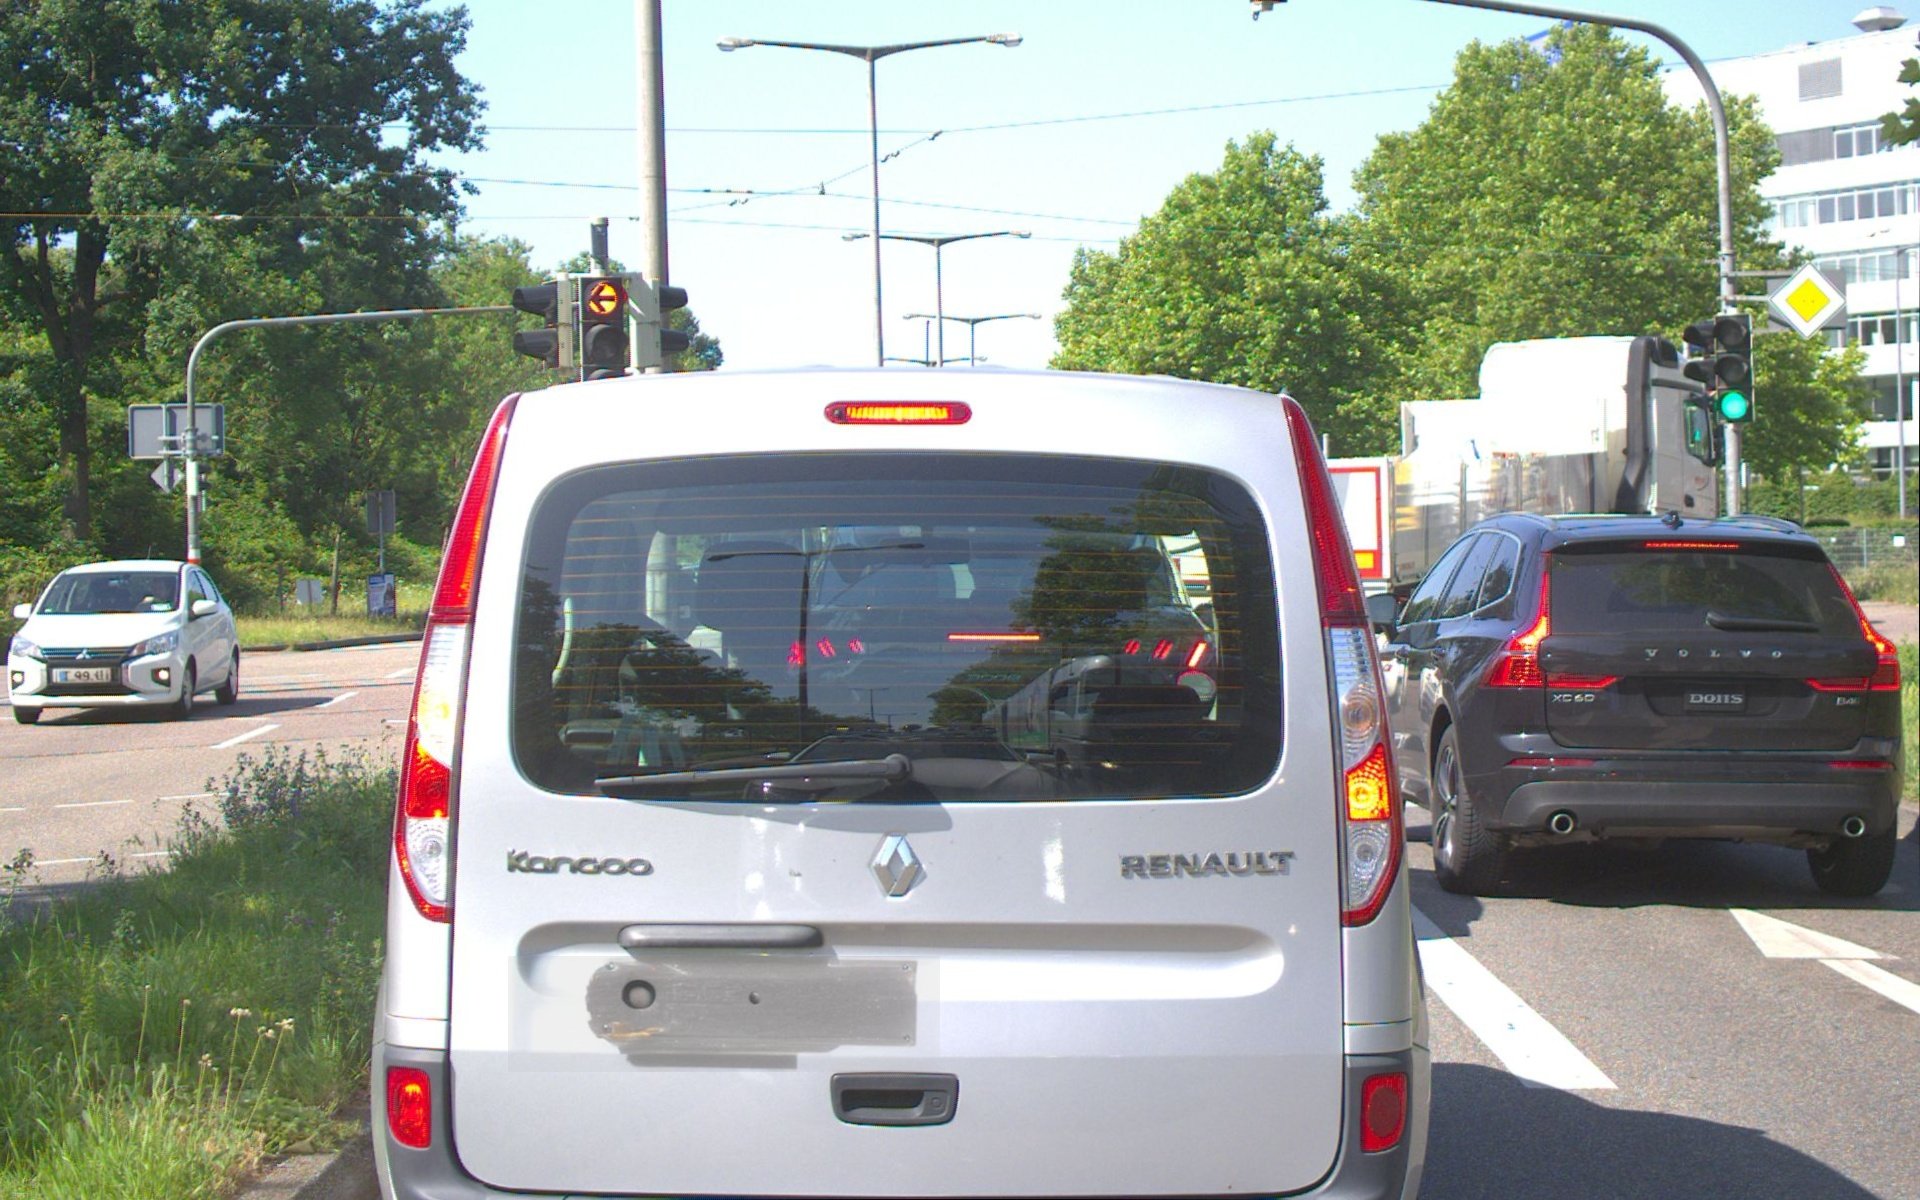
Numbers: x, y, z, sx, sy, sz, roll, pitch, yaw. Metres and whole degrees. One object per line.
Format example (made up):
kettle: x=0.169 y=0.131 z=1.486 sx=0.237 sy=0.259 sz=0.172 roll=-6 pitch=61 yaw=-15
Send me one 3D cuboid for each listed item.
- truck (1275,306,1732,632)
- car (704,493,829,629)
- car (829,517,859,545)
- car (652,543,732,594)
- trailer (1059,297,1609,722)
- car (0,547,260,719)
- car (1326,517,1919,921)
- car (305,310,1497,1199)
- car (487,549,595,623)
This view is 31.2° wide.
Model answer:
truck: x=6.806 y=-1.484 z=42.088 sx=2.916 sy=3.630 sz=7.176 roll=1 pitch=1 yaw=32
car: x=-3.878 y=-0.788 z=69.647 sx=1.994 sy=2.598 sz=5.133 roll=-1 pitch=0 yaw=2
car: x=-8.452 y=-5.025 z=250.835 sx=1.888 sy=2.007 sz=4.000 roll=1 pitch=1 yaw=2
car: x=-8.353 y=-0.985 z=107.403 sx=1.994 sy=1.535 sz=4.236 roll=-1 pitch=0 yaw=2
trailer: x=4.313 y=-0.824 z=35.622 sx=2.903 sy=3.610 sz=12.674 roll=1 pitch=1 yaw=19
car: x=-8.097 y=0.273 z=33.595 sx=1.699 sy=1.503 sz=4.000 roll=-1 pitch=2 yaw=-1
car: x=2.905 y=0.453 z=15.939 sx=1.875 sy=1.586 sz=4.434 roll=1 pitch=1 yaw=-1
car: x=-0.115 y=0.470 z=7.206 sx=1.786 sy=1.831 sz=4.000 roll=1 pitch=1 yaw=-1
car: x=-9.815 y=-0.340 z=80.837 sx=1.911 sy=1.636 sz=3.737 roll=-1 pitch=0 yaw=2
